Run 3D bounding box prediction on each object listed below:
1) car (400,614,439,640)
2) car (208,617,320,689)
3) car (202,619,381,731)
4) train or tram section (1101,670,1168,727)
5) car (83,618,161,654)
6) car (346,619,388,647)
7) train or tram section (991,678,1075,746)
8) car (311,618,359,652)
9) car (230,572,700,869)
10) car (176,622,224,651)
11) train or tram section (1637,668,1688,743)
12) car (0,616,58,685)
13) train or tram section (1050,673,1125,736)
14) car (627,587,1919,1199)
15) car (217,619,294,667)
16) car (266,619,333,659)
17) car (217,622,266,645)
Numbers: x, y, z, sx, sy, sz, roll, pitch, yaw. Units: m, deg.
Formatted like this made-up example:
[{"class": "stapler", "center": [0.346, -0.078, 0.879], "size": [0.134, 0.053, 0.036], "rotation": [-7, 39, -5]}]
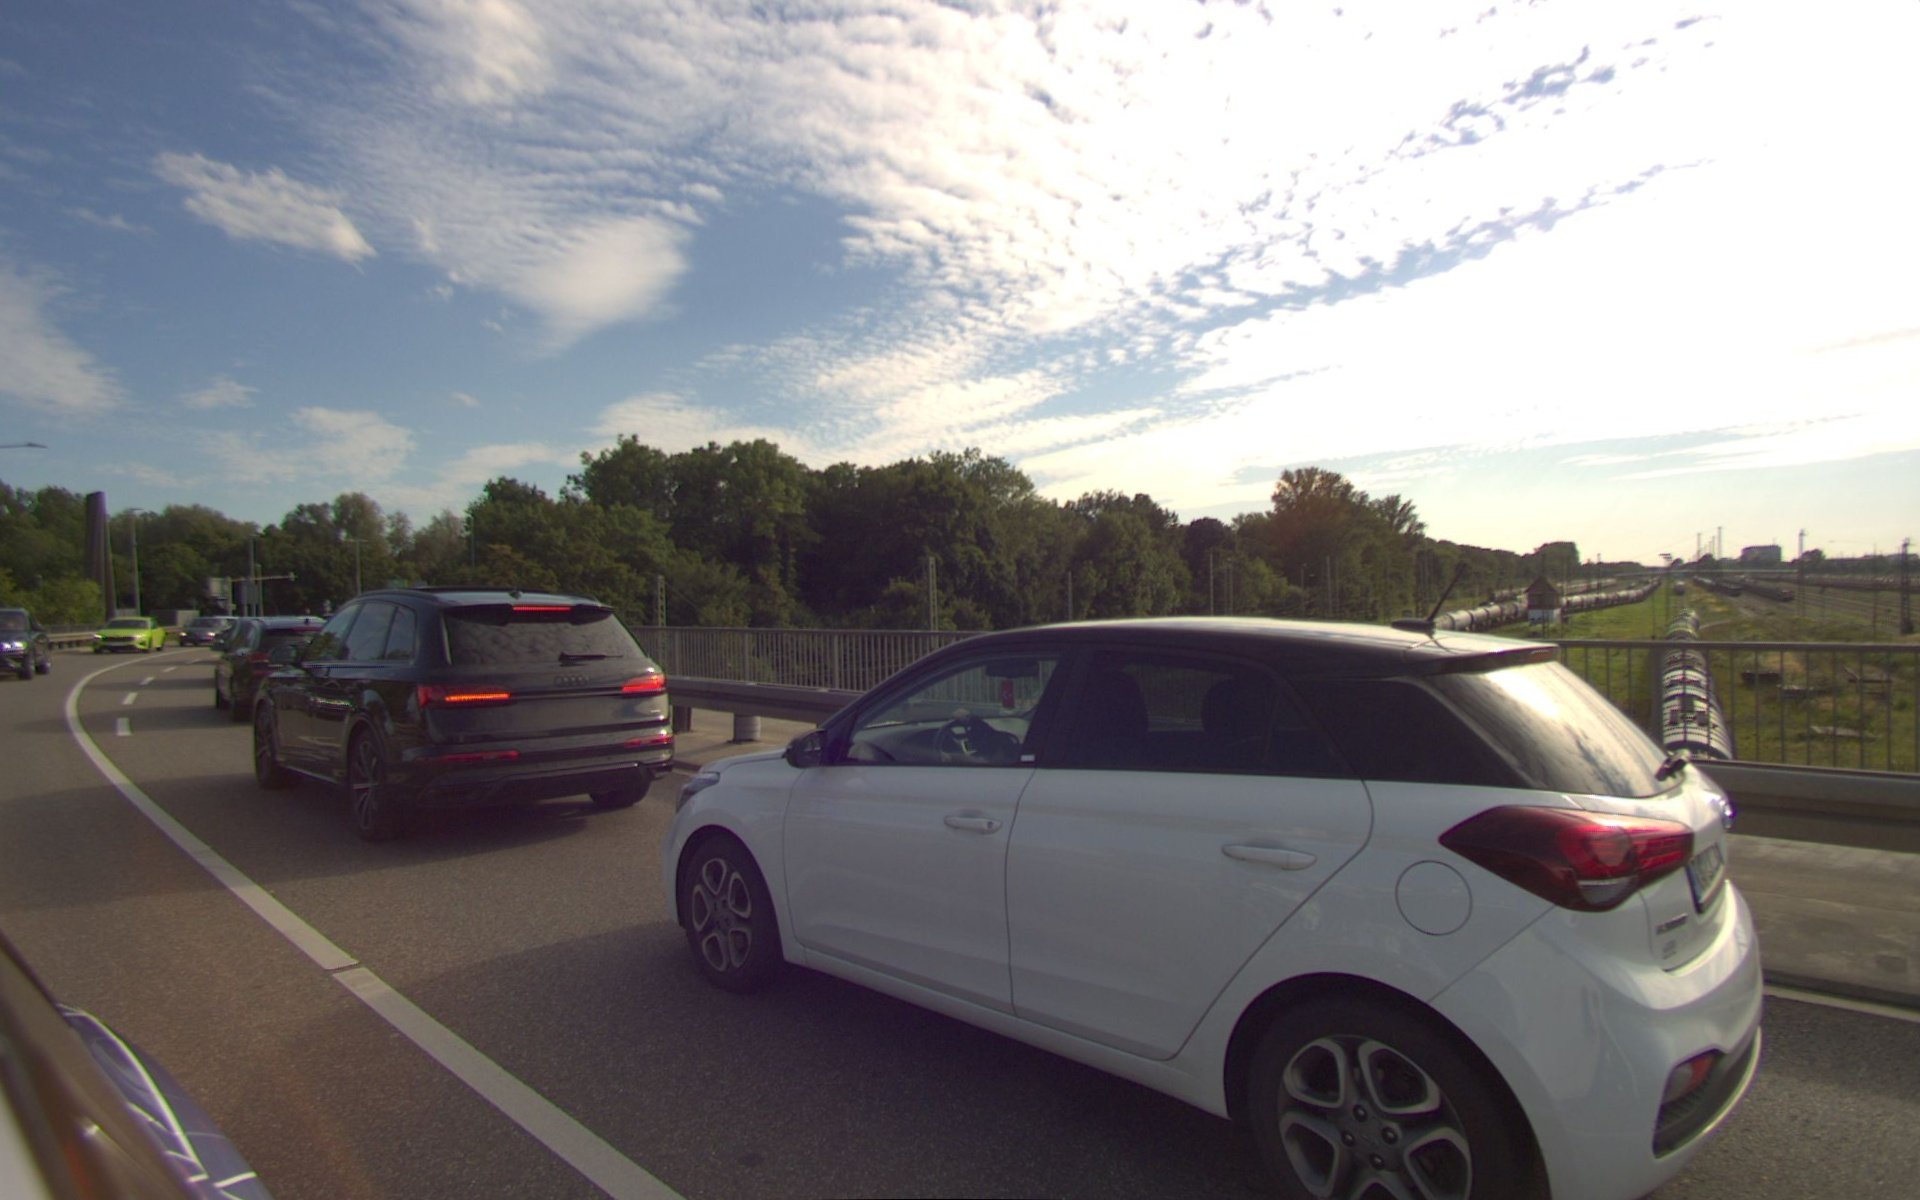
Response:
[{"class": "car", "center": [-43.404, 2.168, 81.380], "size": [1.957, 1.979, 5.063], "rotation": [0, -1, -19]}, {"class": "car", "center": [-15.974, 1.144, 23.138], "size": [1.737, 1.501, 4.399], "rotation": [1, -2, -39]}, {"class": "car", "center": [-10.533, 1.052, 15.803], "size": [1.738, 1.501, 4.451], "rotation": [1, -2, -41]}, {"class": "train or tram section", "center": [13.315, 7.370, 76.802], "size": [2.049, 3.812, 6.753], "rotation": [-1, -1, 39]}, {"class": "car", "center": [-34.063, 1.439, 41.250], "size": [1.789, 1.415, 4.404], "rotation": [1, -2, -31]}, {"class": "car", "center": [-38.702, 2.130, 66.147], "size": [1.748, 1.759, 3.849], "rotation": [1, -1, -21]}, {"class": "train or tram section", "center": [4.870, 7.220, 66.255], "size": [2.049, 3.812, 6.753], "rotation": [-1, -1, 39]}, {"class": "car", "center": [-33.735, 1.887, 54.686], "size": [1.748, 1.759, 3.849], "rotation": [1, -1, -25]}, {"class": "car", "center": [-4.189, 0.734, 8.090], "size": [4.867, 1.685, 1.809], "rotation": [-1, -2, 44]}, {"class": "car", "center": [-37.991, 1.800, 50.644], "size": [1.663, 1.333, 3.795], "rotation": [1, -1, -33]}, {"class": "train or tram section", "center": [56.875, 8.267, 82.173], "size": [3.089, 4.748, 16.554], "rotation": [-1, -1, 34]}, {"class": "car", "center": [-22.821, 1.151, 23.765], "size": [1.789, 1.519, 4.403], "rotation": [1, -2, -33]}, {"class": "train or tram section", "center": [9.089, 7.290, 71.519], "size": [2.049, 3.812, 6.753], "rotation": [-1, -1, 39]}, {"class": "car", "center": [0.632, 0.781, 3.605], "size": [4.077, 1.512, 1.721], "rotation": [-1, -2, 43]}, {"class": "car", "center": [-23.028, 1.375, 33.222], "size": [1.788, 1.468, 4.337], "rotation": [1, -2, -31]}, {"class": "car", "center": [-28.823, 1.674, 44.311], "size": [1.843, 1.679, 4.644], "rotation": [1, -1, -26]}, {"class": "car", "center": [-42.360, 1.955, 59.767], "size": [1.662, 1.333, 3.797], "rotation": [0, -1, -25]}]
